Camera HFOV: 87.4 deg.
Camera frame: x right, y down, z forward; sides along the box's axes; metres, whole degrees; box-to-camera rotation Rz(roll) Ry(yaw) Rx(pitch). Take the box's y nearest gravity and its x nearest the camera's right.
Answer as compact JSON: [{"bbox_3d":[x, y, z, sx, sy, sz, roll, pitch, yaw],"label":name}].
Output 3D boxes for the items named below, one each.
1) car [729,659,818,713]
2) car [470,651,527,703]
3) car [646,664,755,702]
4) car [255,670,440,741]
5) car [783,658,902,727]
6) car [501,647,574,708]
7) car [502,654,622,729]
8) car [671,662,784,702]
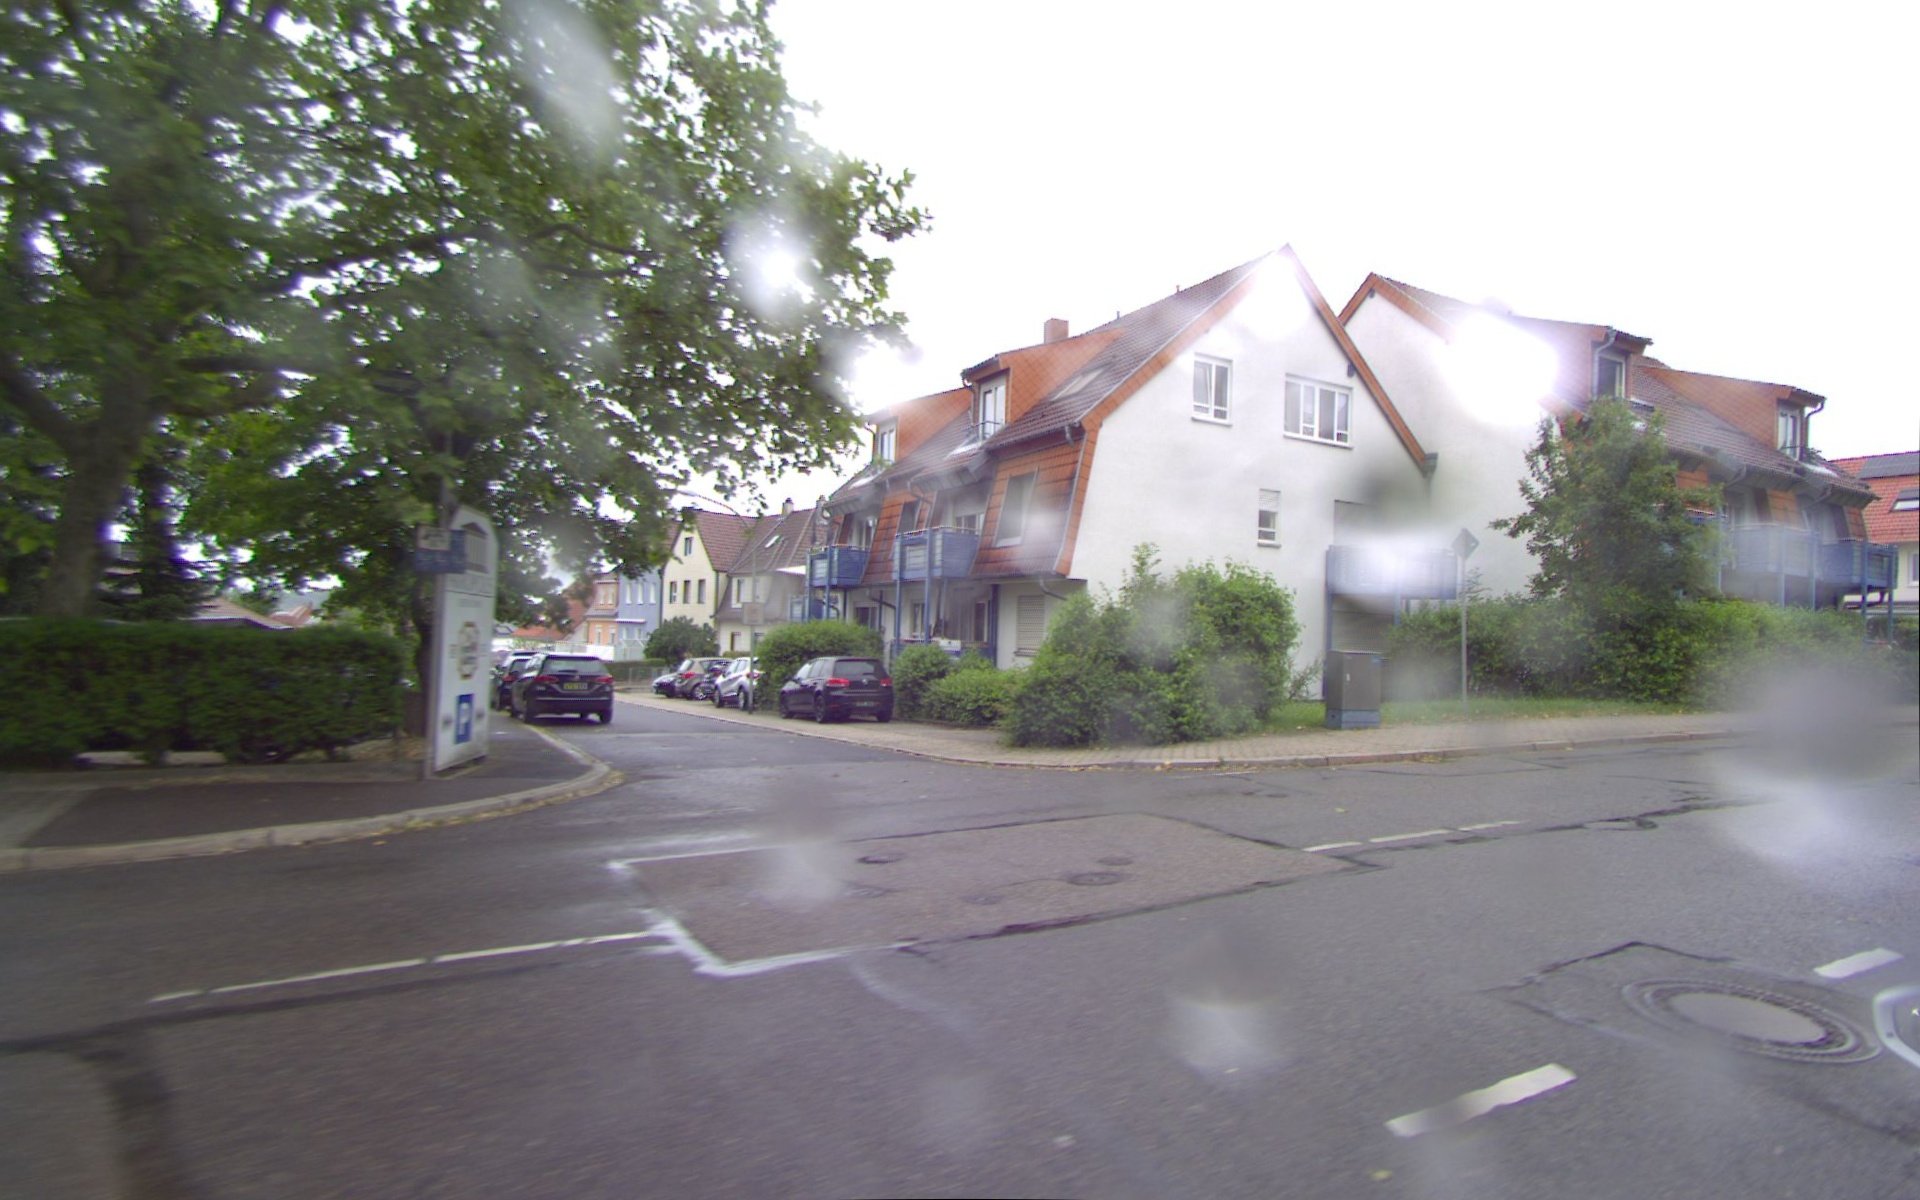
[{"bbox_3d":[-5.523,2.499,29.440,1.714,1.460,3.978,1,-4,-24],"label":"car"},{"bbox_3d":[-18.745,3.094,40.737,1.718,1.953,3.969,1,-4,-30],"label":"car"},{"bbox_3d":[-10.558,3.357,40.966,3.958,1.460,1.723,2,-5,-34],"label":"car"},{"bbox_3d":[-15.887,2.687,26.223,3.956,1.605,1.983,1,-3,-32],"label":"car"},{"bbox_3d":[-2.869,2.122,23.794,1.714,1.461,3.978,1,-3,-24],"label":"car"},{"bbox_3d":[-13.956,2.547,33.099,1.718,1.887,3.970,2,-5,-30],"label":"car"},{"bbox_3d":[-8.774,1.924,21.960,1.719,1.461,3.965,2,-4,-32],"label":"car"},{"bbox_3d":[-9.003,3.156,39.017,3.958,1.460,1.723,2,-5,-34],"label":"car"}]
